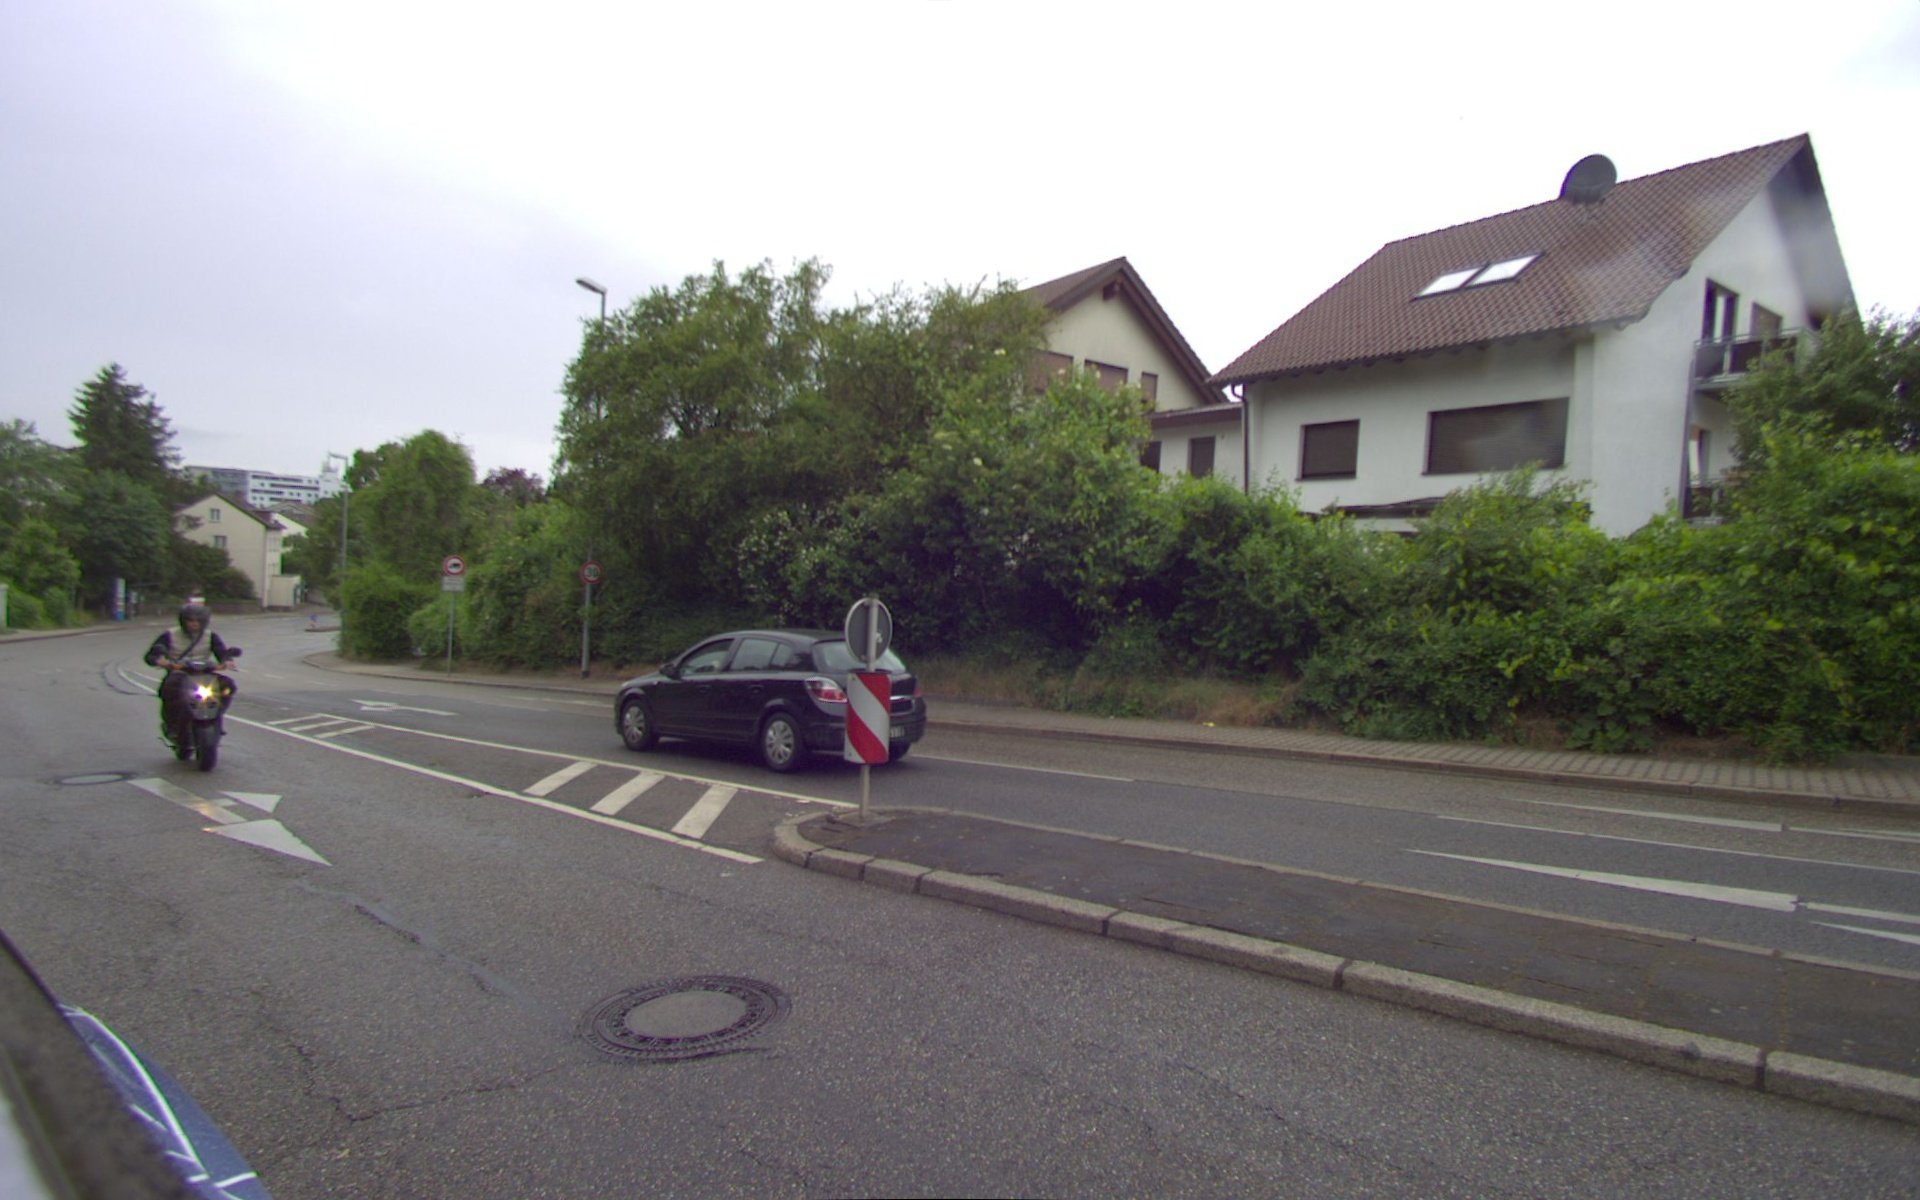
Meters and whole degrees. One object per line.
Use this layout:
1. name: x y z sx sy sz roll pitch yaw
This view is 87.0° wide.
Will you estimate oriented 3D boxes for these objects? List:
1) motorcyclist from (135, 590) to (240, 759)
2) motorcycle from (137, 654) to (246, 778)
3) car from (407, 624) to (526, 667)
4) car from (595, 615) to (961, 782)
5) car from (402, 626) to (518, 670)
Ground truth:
1. motorcyclist: -7.972 0.746 10.450 0.756 1.655 0.675 3 -2 -43
2. motorcycle: -7.810 1.123 10.259 0.682 1.061 1.749 3 -1 -43
3. car: -19.523 1.764 40.111 3.853 1.451 1.814 -3 1 -41
4. car: -2.122 0.962 11.269 3.996 1.521 1.876 -1 -3 40
5. car: -21.004 1.971 42.554 3.939 1.548 2.003 -3 1 -42
